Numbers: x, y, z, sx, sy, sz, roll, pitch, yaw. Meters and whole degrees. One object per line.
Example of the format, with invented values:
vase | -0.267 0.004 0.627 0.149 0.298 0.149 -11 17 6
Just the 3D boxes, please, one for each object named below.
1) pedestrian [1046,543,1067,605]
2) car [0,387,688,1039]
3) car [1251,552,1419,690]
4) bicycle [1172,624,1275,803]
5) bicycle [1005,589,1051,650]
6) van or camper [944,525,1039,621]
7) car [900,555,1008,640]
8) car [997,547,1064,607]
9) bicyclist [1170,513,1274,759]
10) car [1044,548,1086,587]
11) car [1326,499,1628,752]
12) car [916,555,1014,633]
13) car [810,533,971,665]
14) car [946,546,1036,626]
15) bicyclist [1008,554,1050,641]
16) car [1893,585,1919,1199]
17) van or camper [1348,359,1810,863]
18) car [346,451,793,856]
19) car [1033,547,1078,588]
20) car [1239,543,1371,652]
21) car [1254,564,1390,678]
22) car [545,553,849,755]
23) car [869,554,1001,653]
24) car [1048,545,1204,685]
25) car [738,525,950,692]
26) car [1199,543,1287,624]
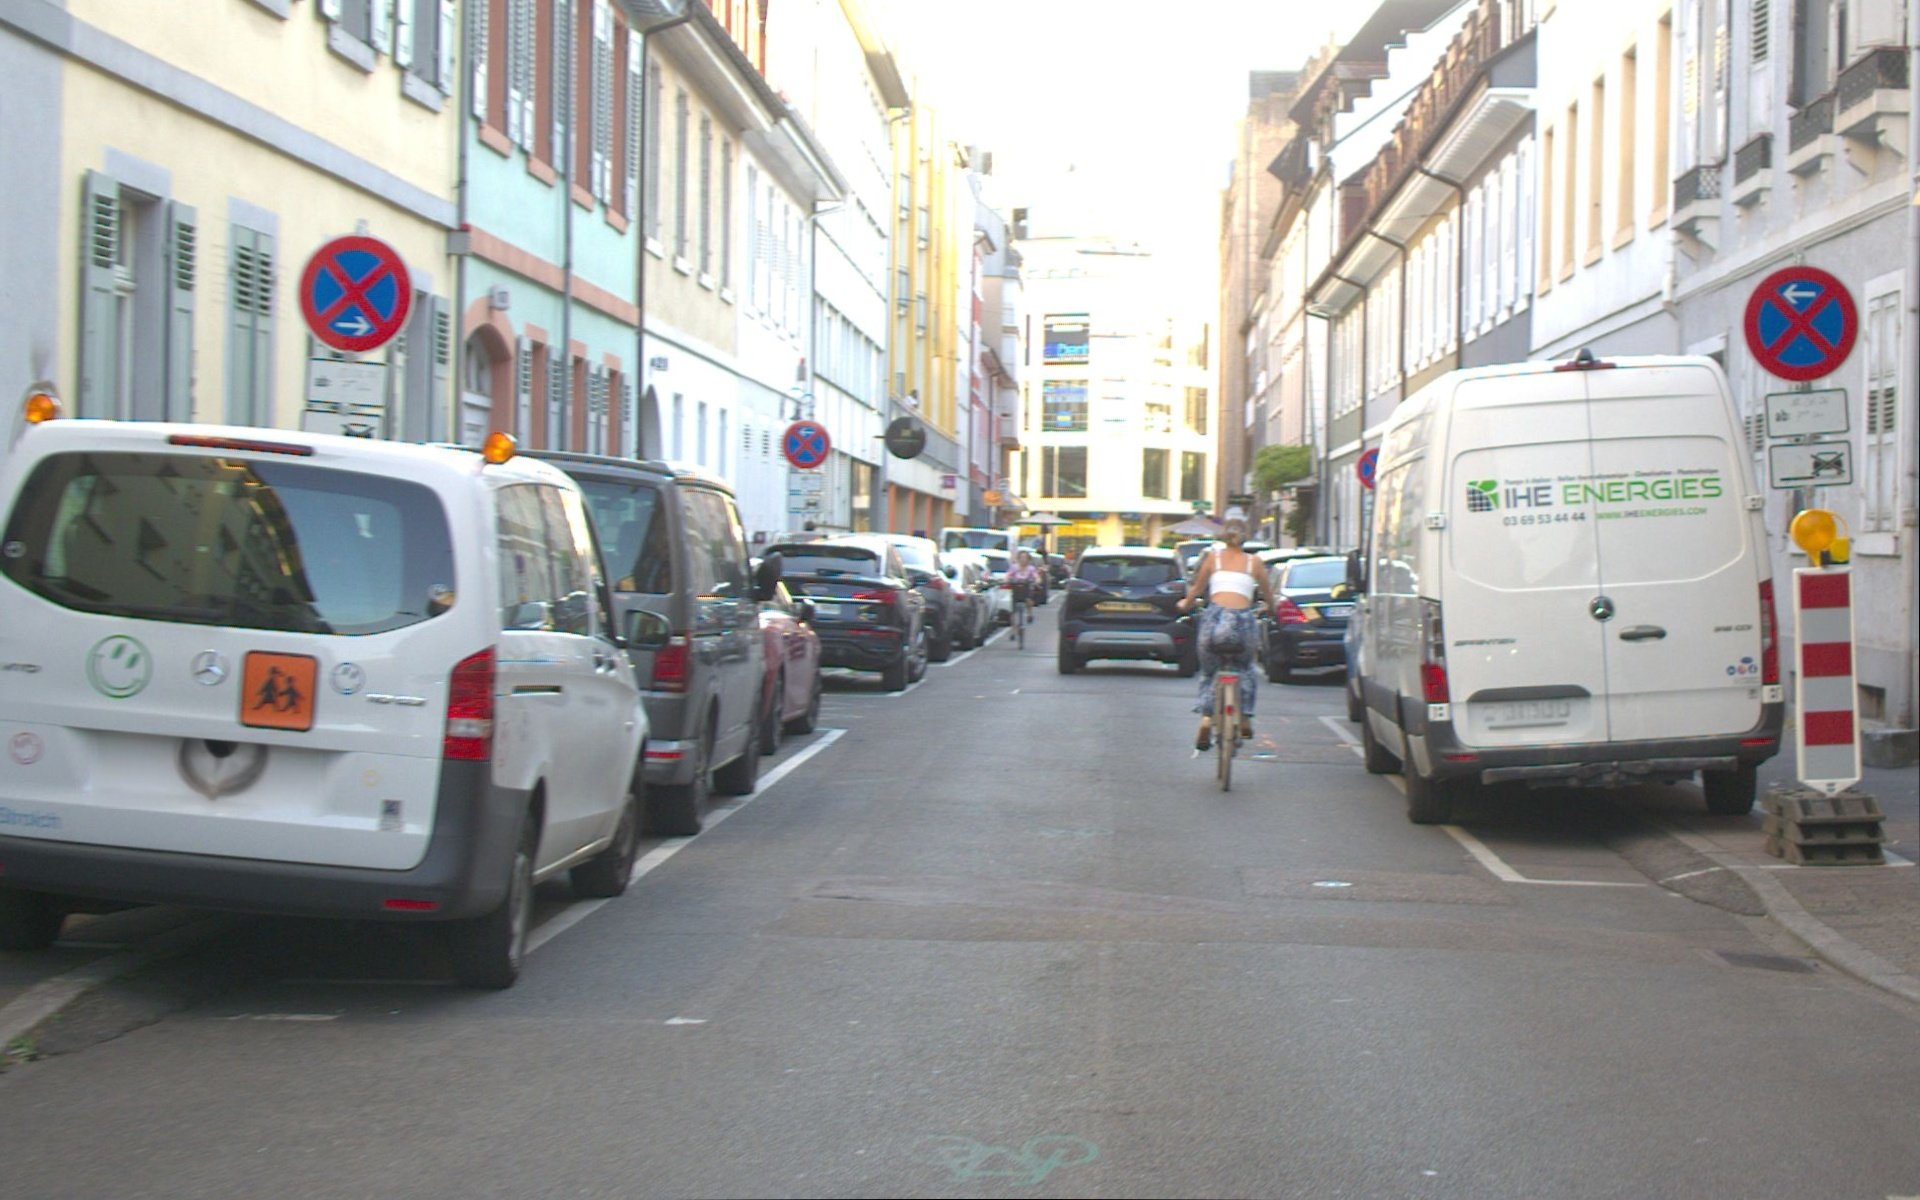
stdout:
pedestrian | 2.748 -0.731 97.820 0.554 1.746 0.568 2 1 0
car | -2.264 0.307 13.278 1.862 2.007 5.106 1 1 2
car | 4.534 0.214 42.128 1.820 1.525 5.070 -2 0 4
bicycle | 1.723 0.720 22.597 0.613 1.078 1.809 2 1 4
bicycle | 1.098 0.308 55.445 0.613 0.929 1.886 2 1 4
van or camper | 0.741 -0.619 77.363 1.844 2.006 4.678 2 1 3
car | -0.078 -0.073 61.473 1.653 1.406 3.902 2 1 3
car | 1.940 -0.643 94.002 1.653 1.555 3.605 2 1 3
bicyclist | 1.714 0.228 22.512 0.621 1.569 0.683 2 1 4
car | 4.462 -1.401 146.079 1.653 1.555 3.605 2 1 3
car | 4.286 0.169 29.286 1.941 1.888 5.317 -2 0 3
car | 0.123 -0.140 66.560 1.653 1.406 3.605 2 1 3
car | -0.926 -0.047 48.589 1.998 1.701 4.535 2 1 1
car | 0.671 -0.310 71.514 1.653 1.555 3.605 2 1 3
bicyclist | 1.120 -0.044 55.485 0.606 1.365 0.621 2 1 4
car | 3.161 0.759 6.736 1.655 1.500 3.754 1 1 1
van or camper | 3.659 -0.004 21.682 2.050 2.628 7.062 1 1 4
car | -2.087 0.229 19.732 1.862 2.007 4.814 1 1 2
car | 3.868 -1.325 139.333 1.653 1.555 3.605 2 1 3
car | 5.917 -0.074 59.384 1.918 1.732 4.153 2 1 2
car | 5.141 0.271 49.252 1.676 1.481 4.000 2 1 3
car | -1.955 0.360 26.737 1.765 1.397 4.262 2 1 3
car | -0.356 0.018 54.877 1.918 1.429 4.294 2 1 1
car | 2.096 0.153 43.595 1.819 1.612 4.000 2 1 2
car | -1.198 0.054 37.414 1.803 1.671 4.489 1 1 4
car | 5.856 -0.362 71.470 1.653 1.555 3.605 2 1 3
